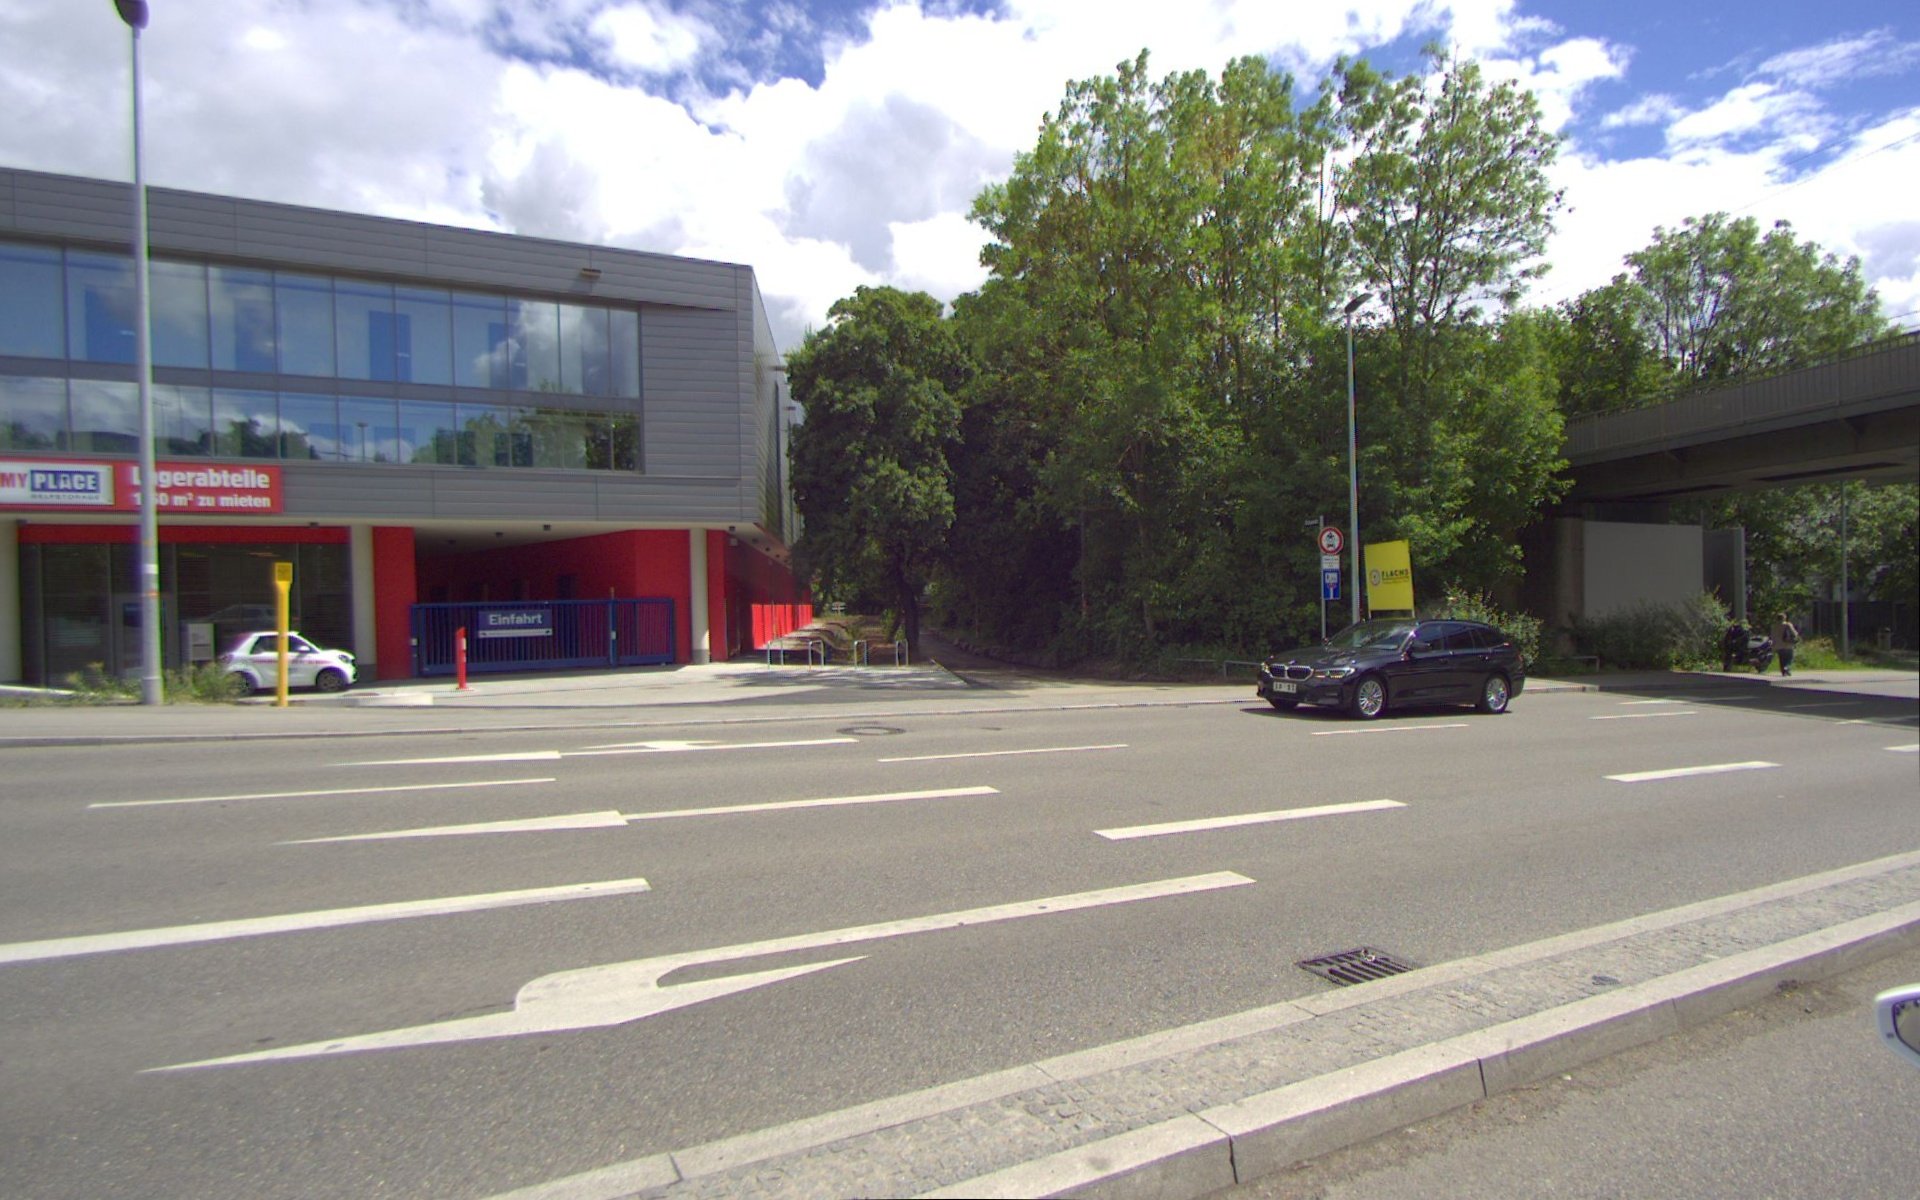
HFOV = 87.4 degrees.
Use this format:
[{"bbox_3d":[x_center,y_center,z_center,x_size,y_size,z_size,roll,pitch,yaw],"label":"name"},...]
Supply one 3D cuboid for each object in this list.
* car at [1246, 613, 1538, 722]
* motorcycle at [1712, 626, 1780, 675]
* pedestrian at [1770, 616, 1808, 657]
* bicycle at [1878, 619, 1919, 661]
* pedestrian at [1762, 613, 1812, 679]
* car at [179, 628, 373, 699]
[{"bbox_3d":[6.759,1.011,15.621,4.500,1.475,1.724,2,-1,-28],"label":"car"},{"bbox_3d":[21.274,1.376,27.181,2.048,1.226,0.684,4,0,-29],"label":"motorcycle"},{"bbox_3d":[42.136,1.859,51.059,1.149,2.040,1.008,1,0,-20],"label":"pedestrian"},{"bbox_3d":[47.923,1.982,50.321,2.707,2.040,1.039,-2,2,38],"label":"bicycle"},{"bbox_3d":[21.960,1.205,26.676,0.712,1.646,0.721,-2,6,-29],"label":"pedestrian"},{"bbox_3d":[-16.857,1.534,24.960,3.685,1.529,1.664,-1,0,-23],"label":"car"}]
